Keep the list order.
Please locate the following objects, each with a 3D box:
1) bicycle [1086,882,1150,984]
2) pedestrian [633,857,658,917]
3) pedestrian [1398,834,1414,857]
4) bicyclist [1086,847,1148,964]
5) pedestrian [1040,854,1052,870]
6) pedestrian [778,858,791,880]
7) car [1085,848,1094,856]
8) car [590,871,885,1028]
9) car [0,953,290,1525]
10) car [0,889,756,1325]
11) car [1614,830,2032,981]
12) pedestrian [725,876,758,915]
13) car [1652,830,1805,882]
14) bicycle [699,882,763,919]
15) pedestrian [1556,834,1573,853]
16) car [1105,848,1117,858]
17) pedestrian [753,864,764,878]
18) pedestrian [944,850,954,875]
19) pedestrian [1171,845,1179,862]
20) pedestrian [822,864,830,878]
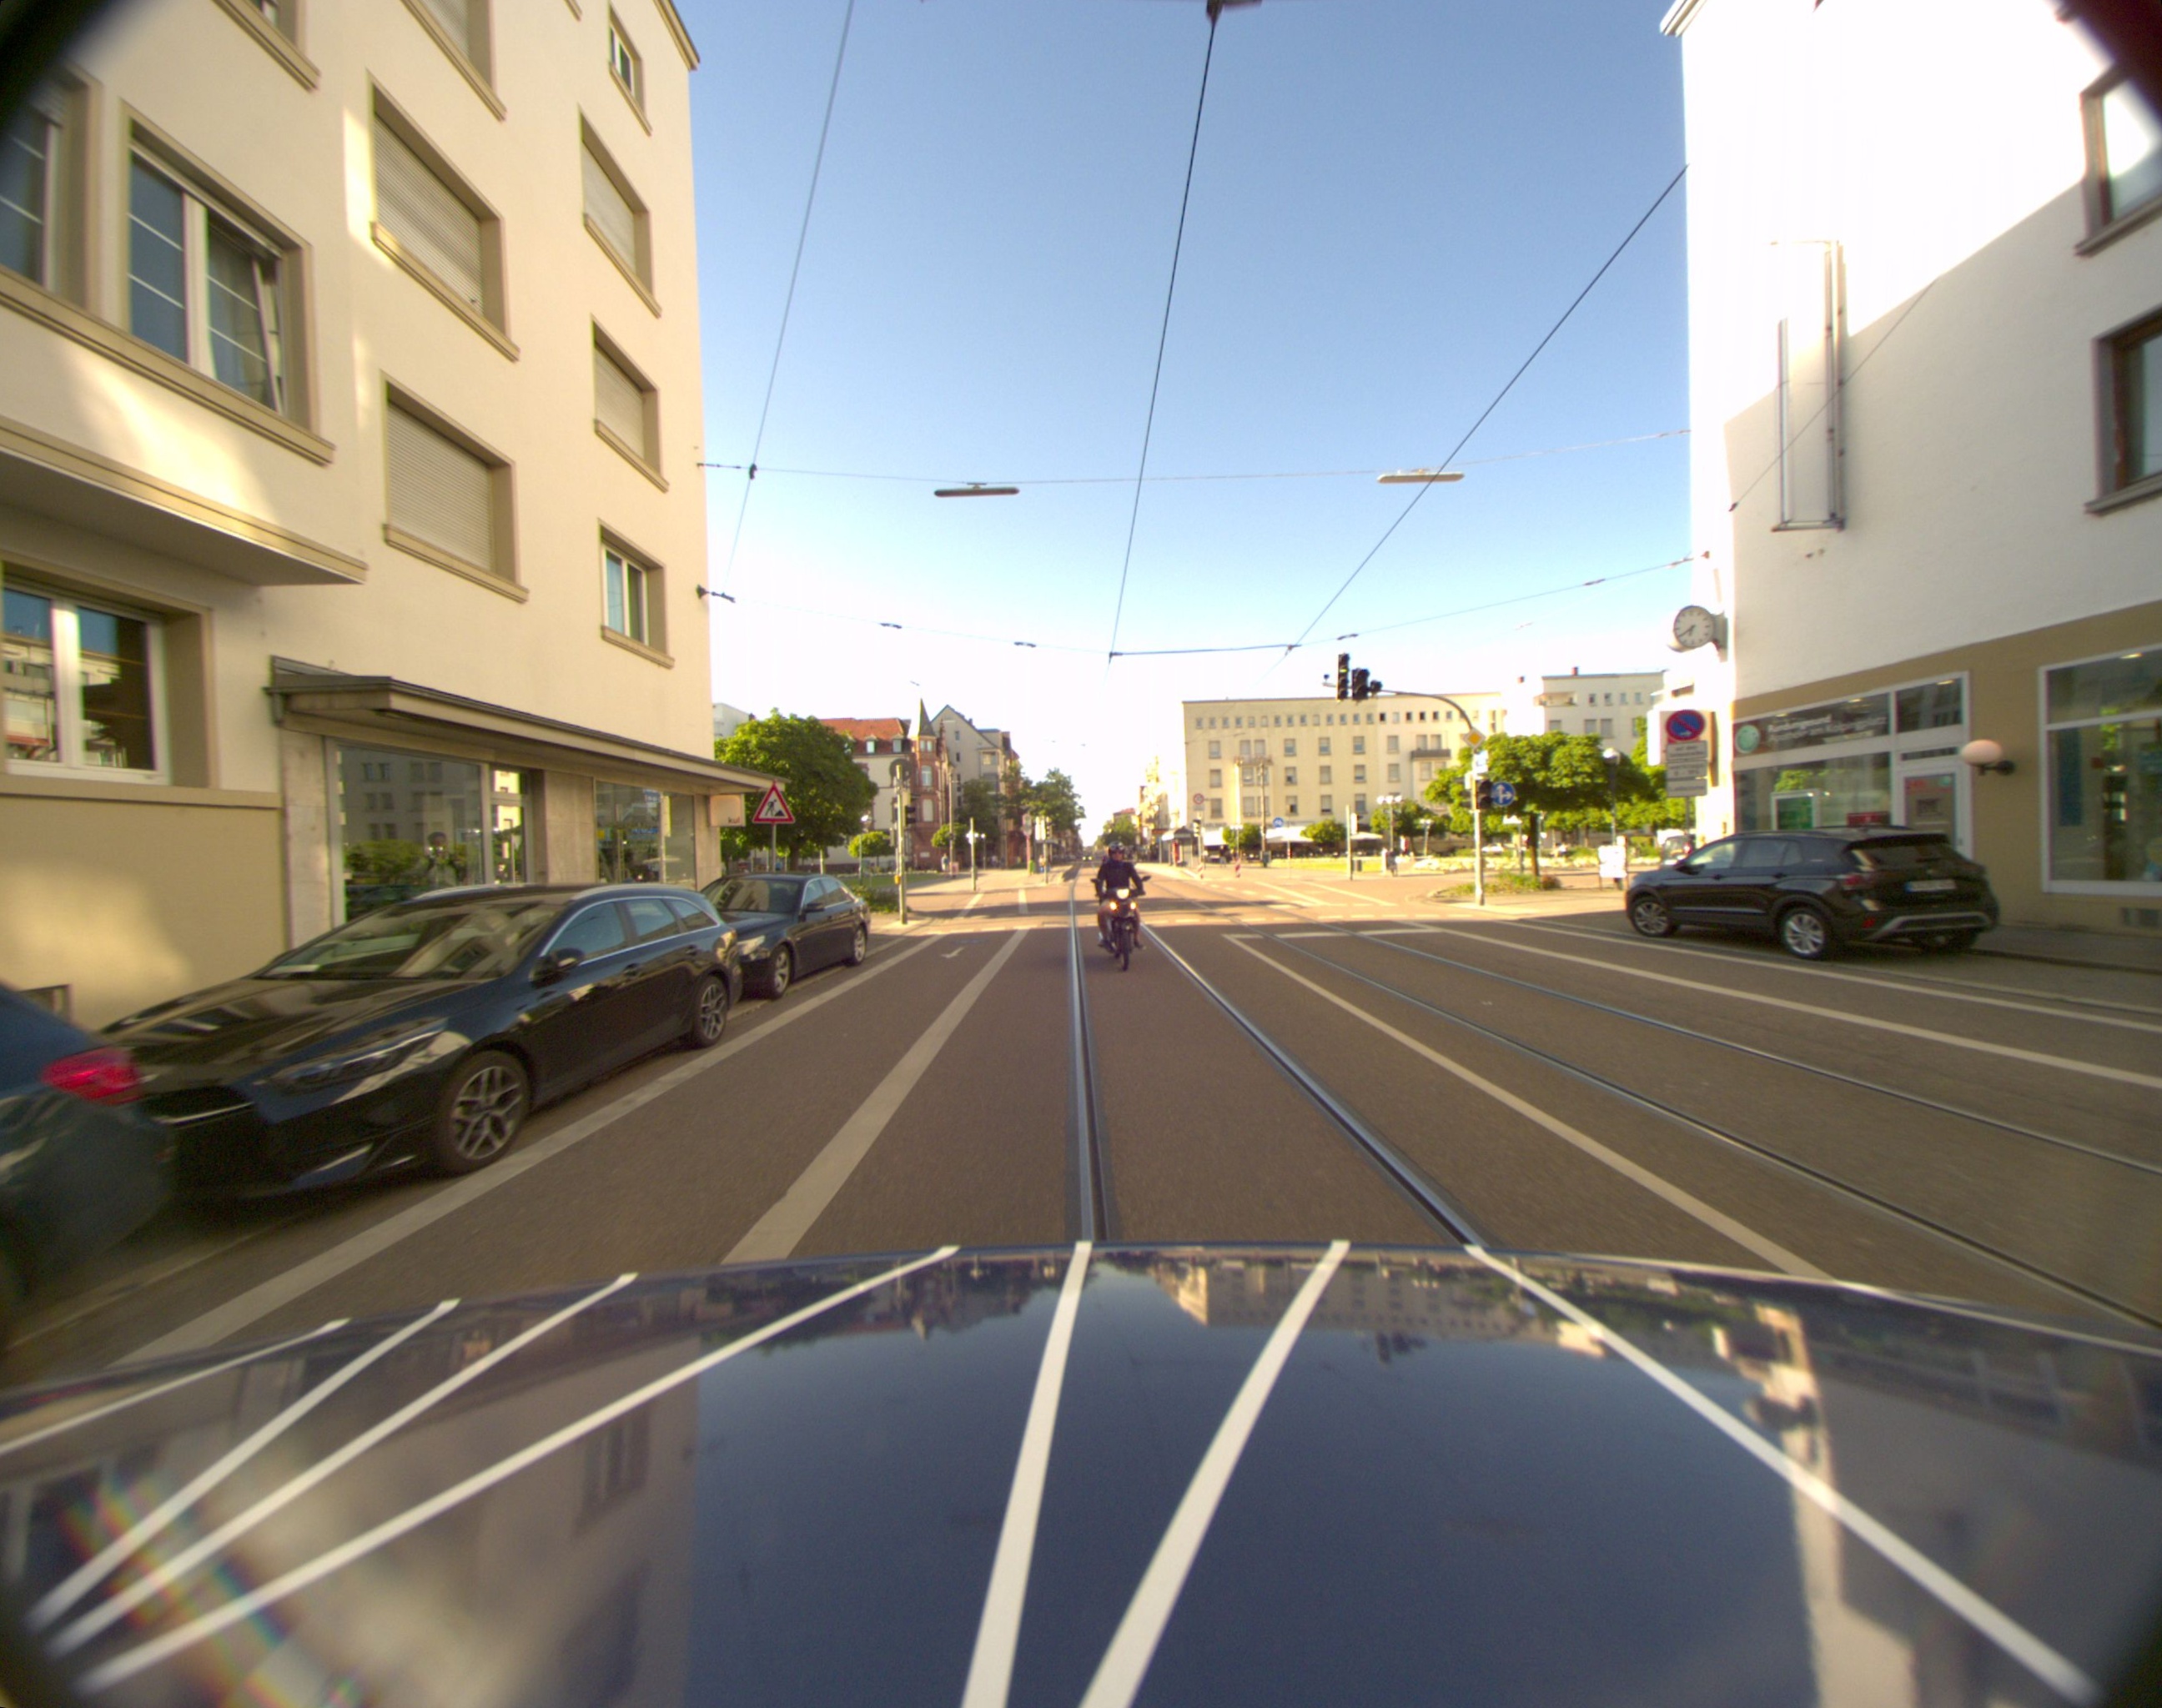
[{"bbox_3d":[0.517,1.033,10.500,0.767,1.192,1.752,-2,1,3],"label":"bicycle"},{"bbox_3d":[-13.202,0.987,23.034,0.553,1.778,0.540,-2,1,-33],"label":"pedestrian"},{"bbox_3d":[23.379,-0.608,54.638,0.669,1.686,0.837,-3,1,-45],"label":"pedestrian"},{"bbox_3d":[0.500,0.686,10.575,0.774,1.531,0.939,-2,1,2],"label":"bicyclist"},{"bbox_3d":[-2.696,0.635,58.561,0.774,1.197,0.610,-2,1,-8],"label":"pedestrian"},{"bbox_3d":[-21.932,1.125,56.165,0.650,1.592,0.700,-3,1,-35],"label":"pedestrian"},{"bbox_3d":[1.903,-0.445,164.628,1.970,1.577,4.000,-2,0,1],"label":"car"},{"bbox_3d":[-4.330,1.080,10.624,1.752,1.499,4.919,1,1,2],"label":"car"},{"bbox_3d":[-4.027,1.152,0.879,1.861,1.499,4.095,1,1,2],"label":"car"},{"bbox_3d":[-4.121,1.131,5.310,1.862,1.499,4.505,1,1,-2],"label":"car"},{"bbox_3d":[9.503,0.547,10.300,1.787,1.543,3.992,-4,1,2],"label":"car"},{"bbox_3d":[-10.955,1.346,24.522,0.734,1.206,0.551,-2,1,8],"label":"pedestrian"},{"bbox_3d":[23.091,0.069,27.187,3.989,1.700,1.677,-2,1,1],"label":"car"},{"bbox_3d":[-9.670,1.290,20.999,1.666,0.979,0.359,-2,1,8],"label":"bicycle"},{"bbox_3d":[36.076,-0.778,56.711,0.838,1.410,0.667,-2,1,-1],"label":"pedestrian"},{"bbox_3d":[5.273,-0.141,132.683,1.970,1.577,4.000,-2,0,3],"label":"car"},{"bbox_3d":[-30.650,1.640,72.172,0.710,1.285,0.679,-2,1,-1],"label":"pedestrian"},{"bbox_3d":[-10.435,0.702,60.055,0.650,1.944,0.583,-2,1,-16],"label":"pedestrian"},{"bbox_3d":[8.104,-0.062,65.585,0.551,1.482,0.610,-2,1,-6],"label":"pedestrian"},{"bbox_3d":[-19.928,1.337,59.450,0.453,1.076,0.449,-3,1,-39],"label":"pedestrian"}]
